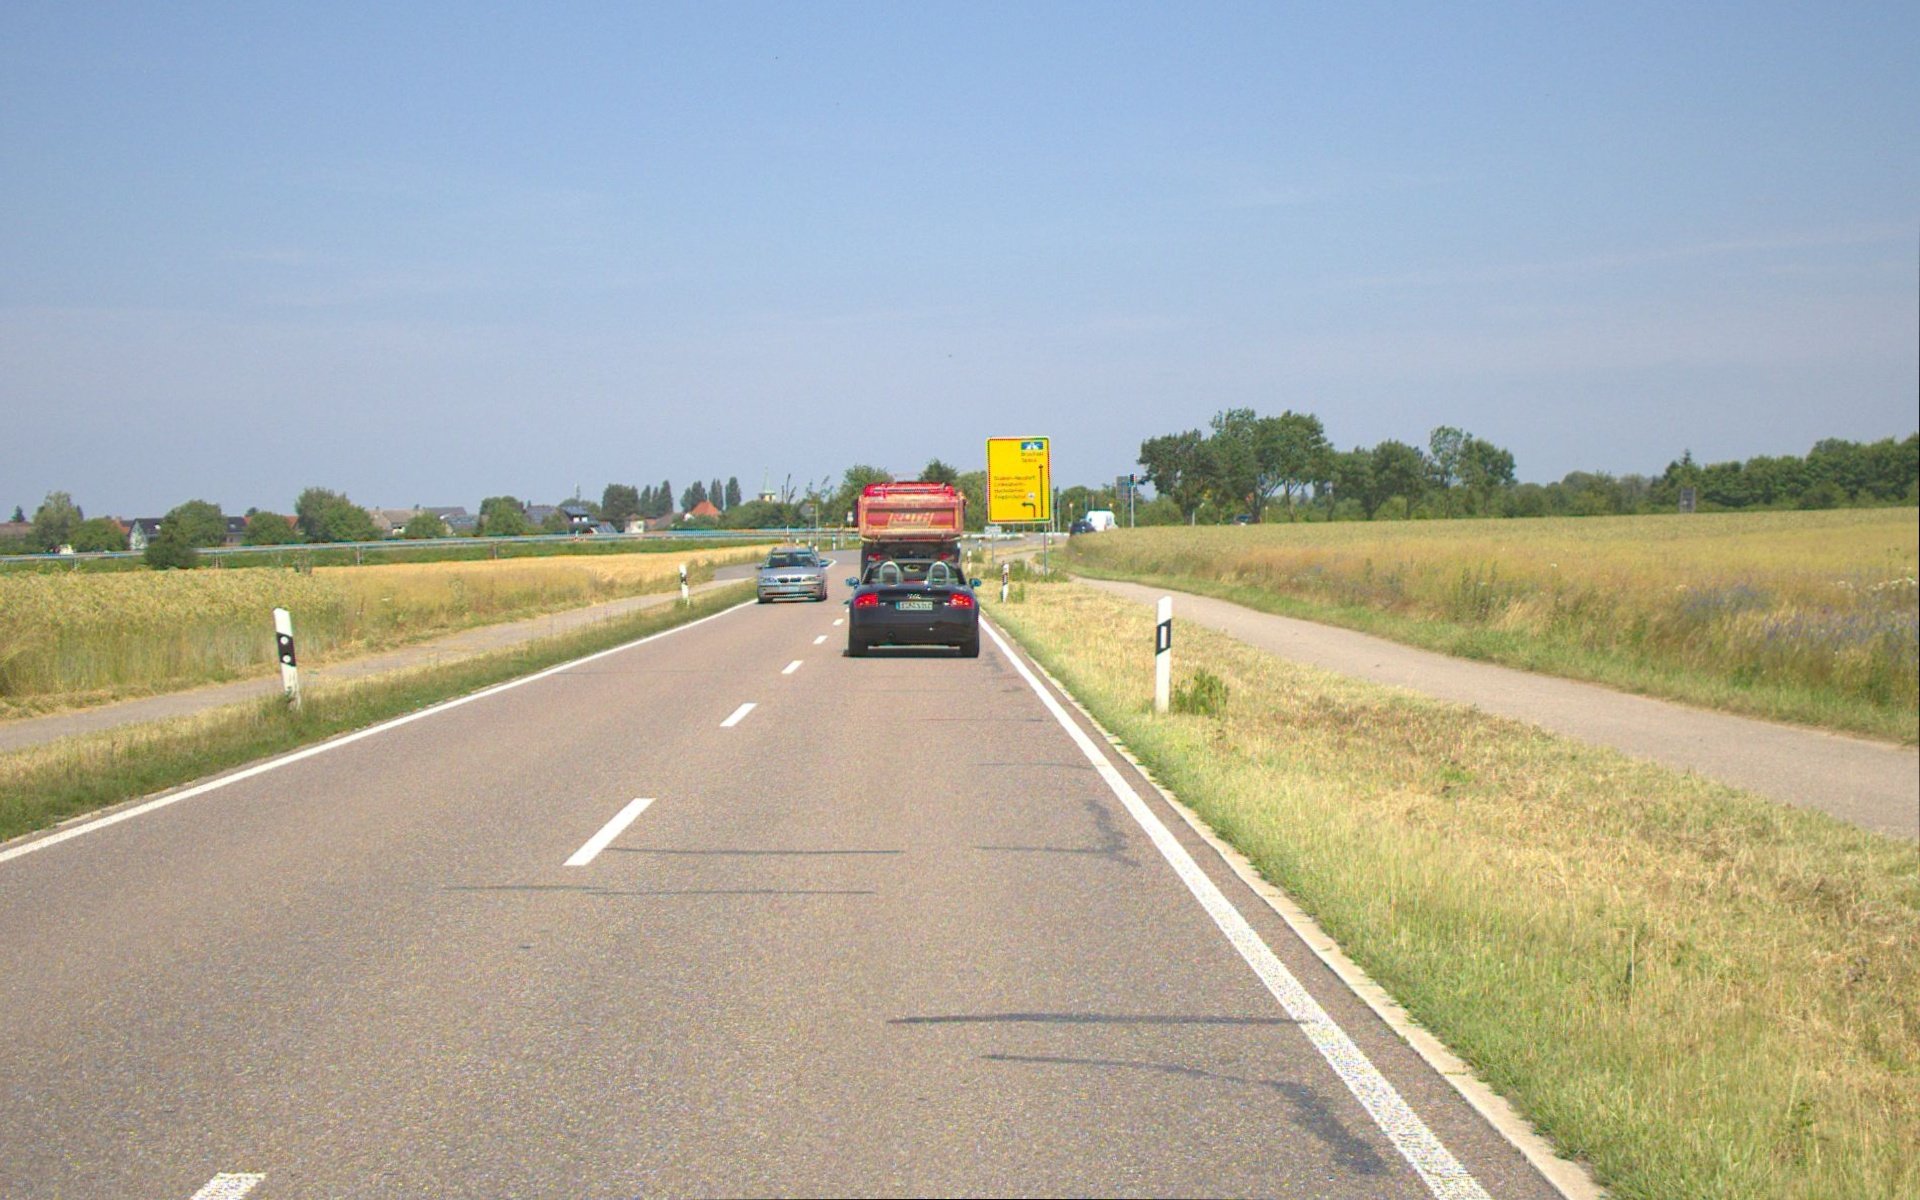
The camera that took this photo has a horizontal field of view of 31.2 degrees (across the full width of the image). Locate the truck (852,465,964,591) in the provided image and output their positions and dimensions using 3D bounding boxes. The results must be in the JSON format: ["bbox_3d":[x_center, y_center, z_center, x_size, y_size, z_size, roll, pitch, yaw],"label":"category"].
[{"bbox_3d":[-1.313,-1.783,87.388,2.714,3.042,8.165,0,1,-1],"label":"truck"}]

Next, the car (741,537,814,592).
[{"bbox_3d":[-4.786,-0.933,90.552,1.747,1.395,4.032,0,1,-1],"label":"car"}]

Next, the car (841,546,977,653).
[{"bbox_3d":[-0.681,-0.027,46.423,1.747,1.371,3.679,1,1,-1],"label":"car"}]
